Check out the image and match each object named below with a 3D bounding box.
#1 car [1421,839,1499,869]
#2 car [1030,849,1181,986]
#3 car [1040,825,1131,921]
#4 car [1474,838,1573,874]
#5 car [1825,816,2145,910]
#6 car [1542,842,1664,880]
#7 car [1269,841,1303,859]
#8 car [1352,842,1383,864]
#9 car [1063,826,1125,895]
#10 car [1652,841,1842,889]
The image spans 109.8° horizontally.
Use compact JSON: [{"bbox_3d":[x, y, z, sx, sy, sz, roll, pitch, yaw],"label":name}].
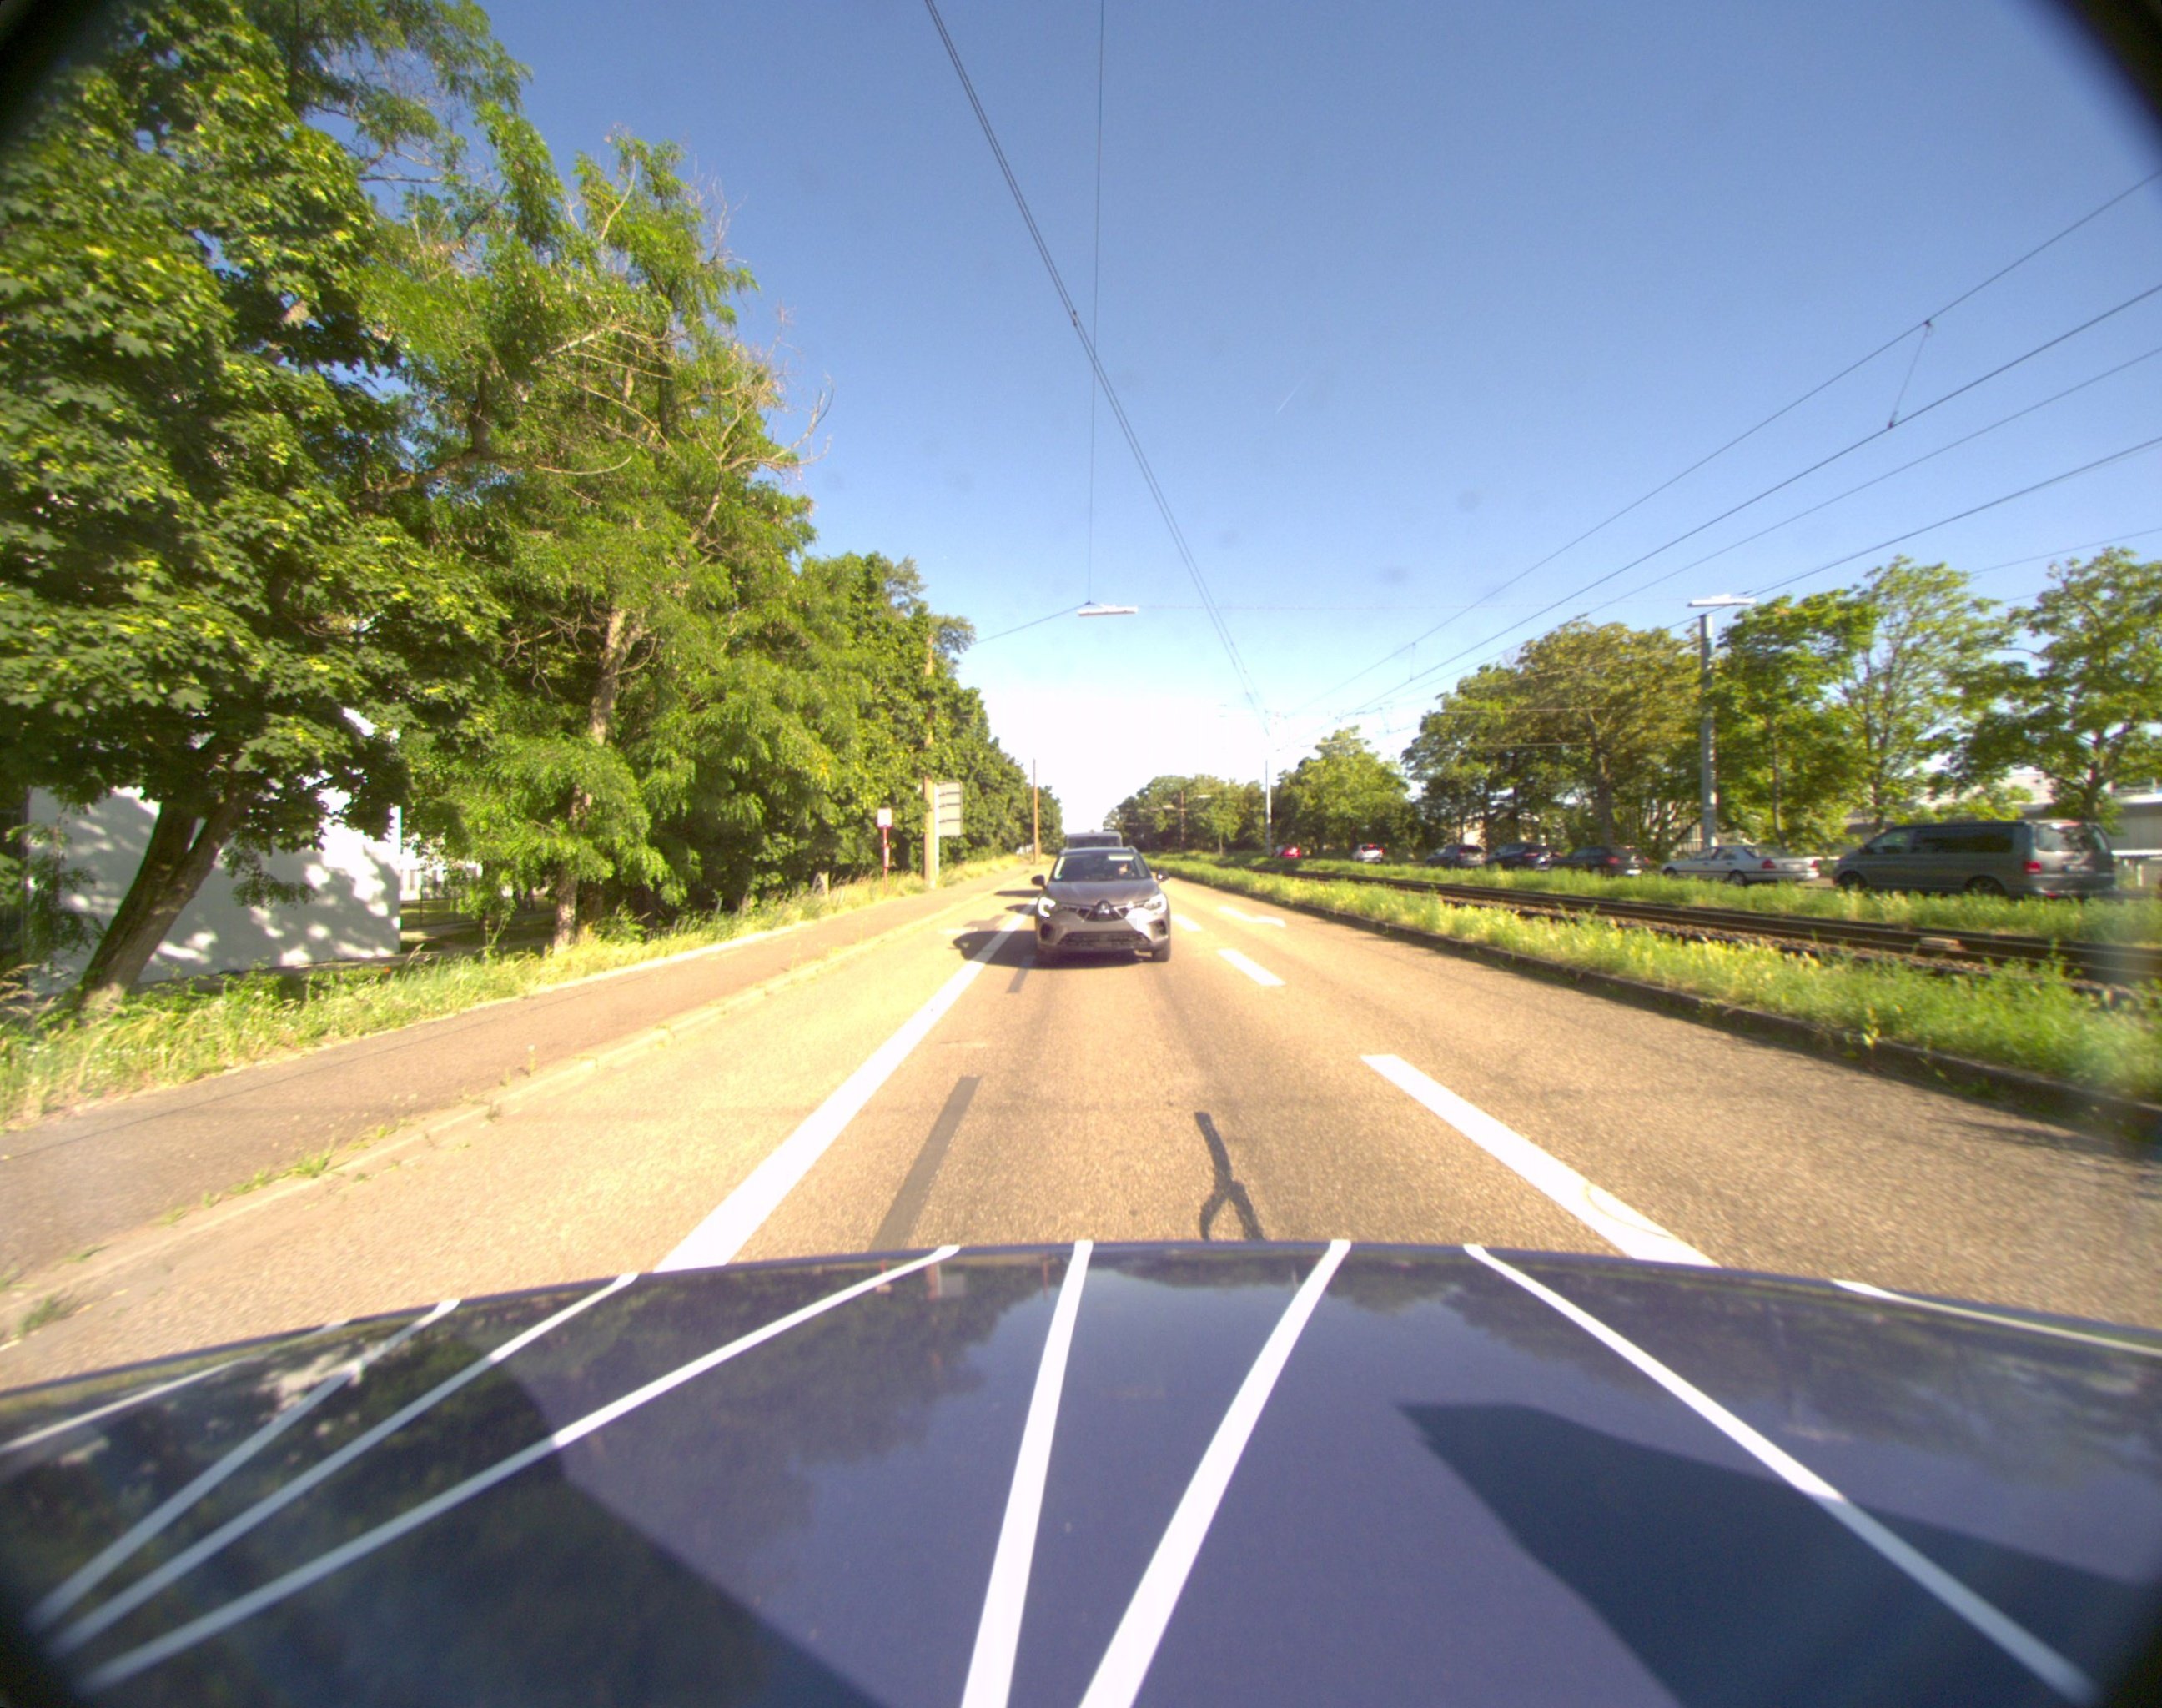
[{"bbox_3d":[21.526,-0.007,43.386,2.130,1.554,4.560,-2,0,0],"label":"car"},{"bbox_3d":[0.245,0.752,11.426,1.796,1.583,4.529,-1,1,-1],"label":"car"},{"bbox_3d":[0.127,0.410,19.107,1.998,2.113,4.000,-2,0,1],"label":"car"},{"bbox_3d":[21.284,0.064,36.804,2.130,1.578,4.616,-2,0,1],"label":"car"},{"bbox_3d":[21.249,0.185,18.278,2.207,1.923,4.685,-1,0,2],"label":"car"},{"bbox_3d":[21.336,0.257,31.309,1.960,1.418,4.488,-2,0,1],"label":"car"},{"bbox_3d":[20.876,-0.440,77.437,2.321,1.723,4.798,-1,0,3],"label":"car"},{"bbox_3d":[20.977,-0.093,55.735,1.857,1.549,4.162,-1,0,17],"label":"car"},{"bbox_3d":[0.357,0.218,27.042,1.999,2.198,4.786,-1,0,-1],"label":"car"},{"bbox_3d":[21.553,0.329,24.917,2.130,1.372,4.615,-2,0,-1],"label":"car"}]
